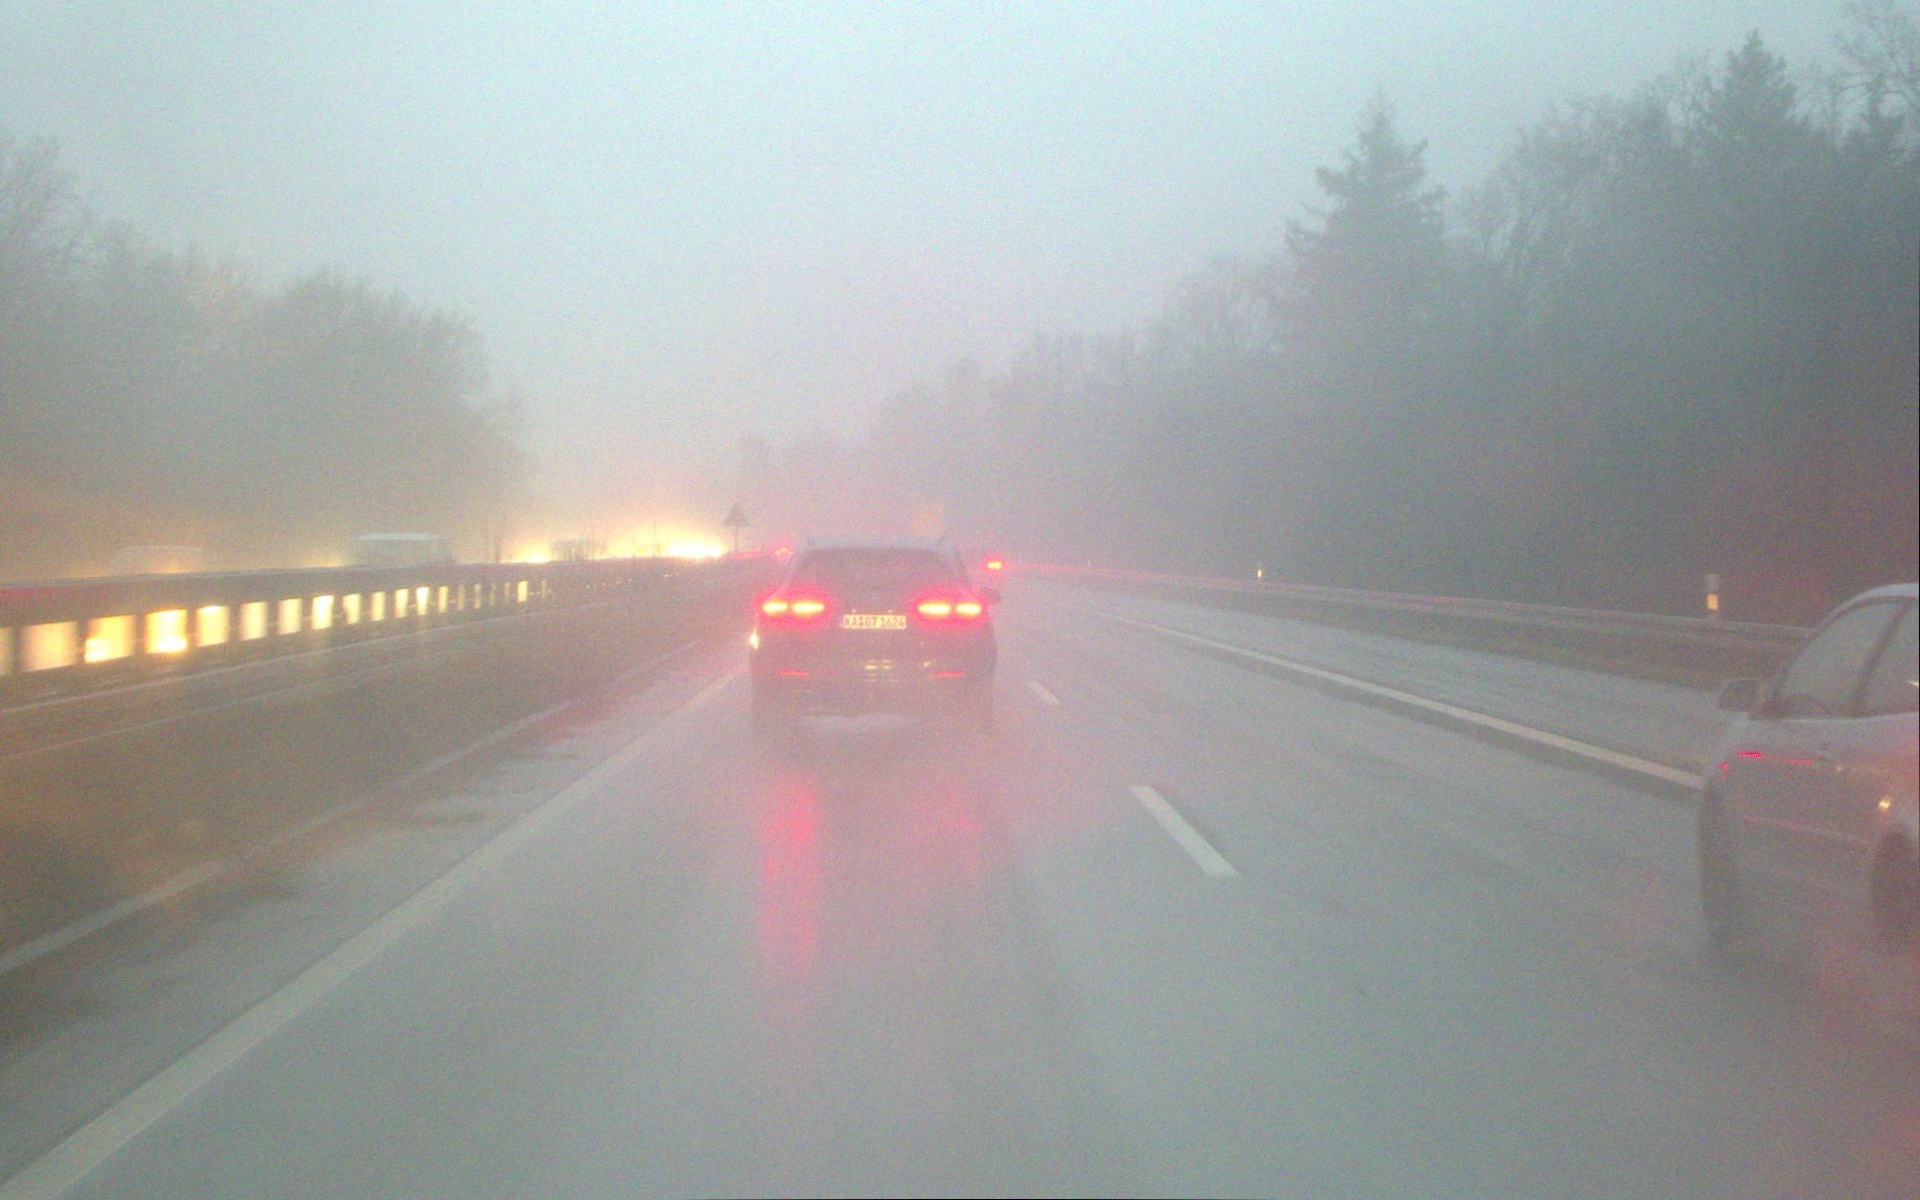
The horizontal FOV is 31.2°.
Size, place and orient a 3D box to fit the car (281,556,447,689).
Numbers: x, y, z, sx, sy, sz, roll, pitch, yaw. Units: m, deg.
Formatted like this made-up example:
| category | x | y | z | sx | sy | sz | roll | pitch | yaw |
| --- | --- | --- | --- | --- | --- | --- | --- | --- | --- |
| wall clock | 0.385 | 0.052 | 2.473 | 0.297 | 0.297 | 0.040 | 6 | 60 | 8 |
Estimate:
| category | x | y | z | sx | sy | sz | roll | pitch | yaw |
| --- | --- | --- | --- | --- | --- | --- | --- | --- | --- |
| car | -9.200 | 0.348 | 53.345 | 1.823 | 1.897 | 4.000 | 3 | 0 | 0 |

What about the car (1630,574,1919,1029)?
| category | x | y | z | sx | sy | sz | roll | pitch | yaw |
| --- | --- | --- | --- | --- | --- | --- | --- | --- | --- |
| car | 3.755 | 0.643 | 12.827 | 1.780 | 1.432 | 3.537 | 1 | 1 | 0 |

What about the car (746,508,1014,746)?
| category | x | y | z | sx | sy | sz | roll | pitch | yaw |
| --- | --- | --- | --- | --- | --- | --- | --- | --- | --- |
| car | -0.668 | 0.166 | 27.814 | 1.986 | 1.761 | 4.174 | 1 | 1 | -2 |

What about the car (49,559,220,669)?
| category | x | y | z | sx | sy | sz | roll | pitch | yaw |
| --- | --- | --- | --- | --- | --- | --- | --- | --- | --- |
| car | -13.649 | 0.240 | 57.020 | 1.823 | 1.665 | 4.000 | 3 | 0 | 0 |
